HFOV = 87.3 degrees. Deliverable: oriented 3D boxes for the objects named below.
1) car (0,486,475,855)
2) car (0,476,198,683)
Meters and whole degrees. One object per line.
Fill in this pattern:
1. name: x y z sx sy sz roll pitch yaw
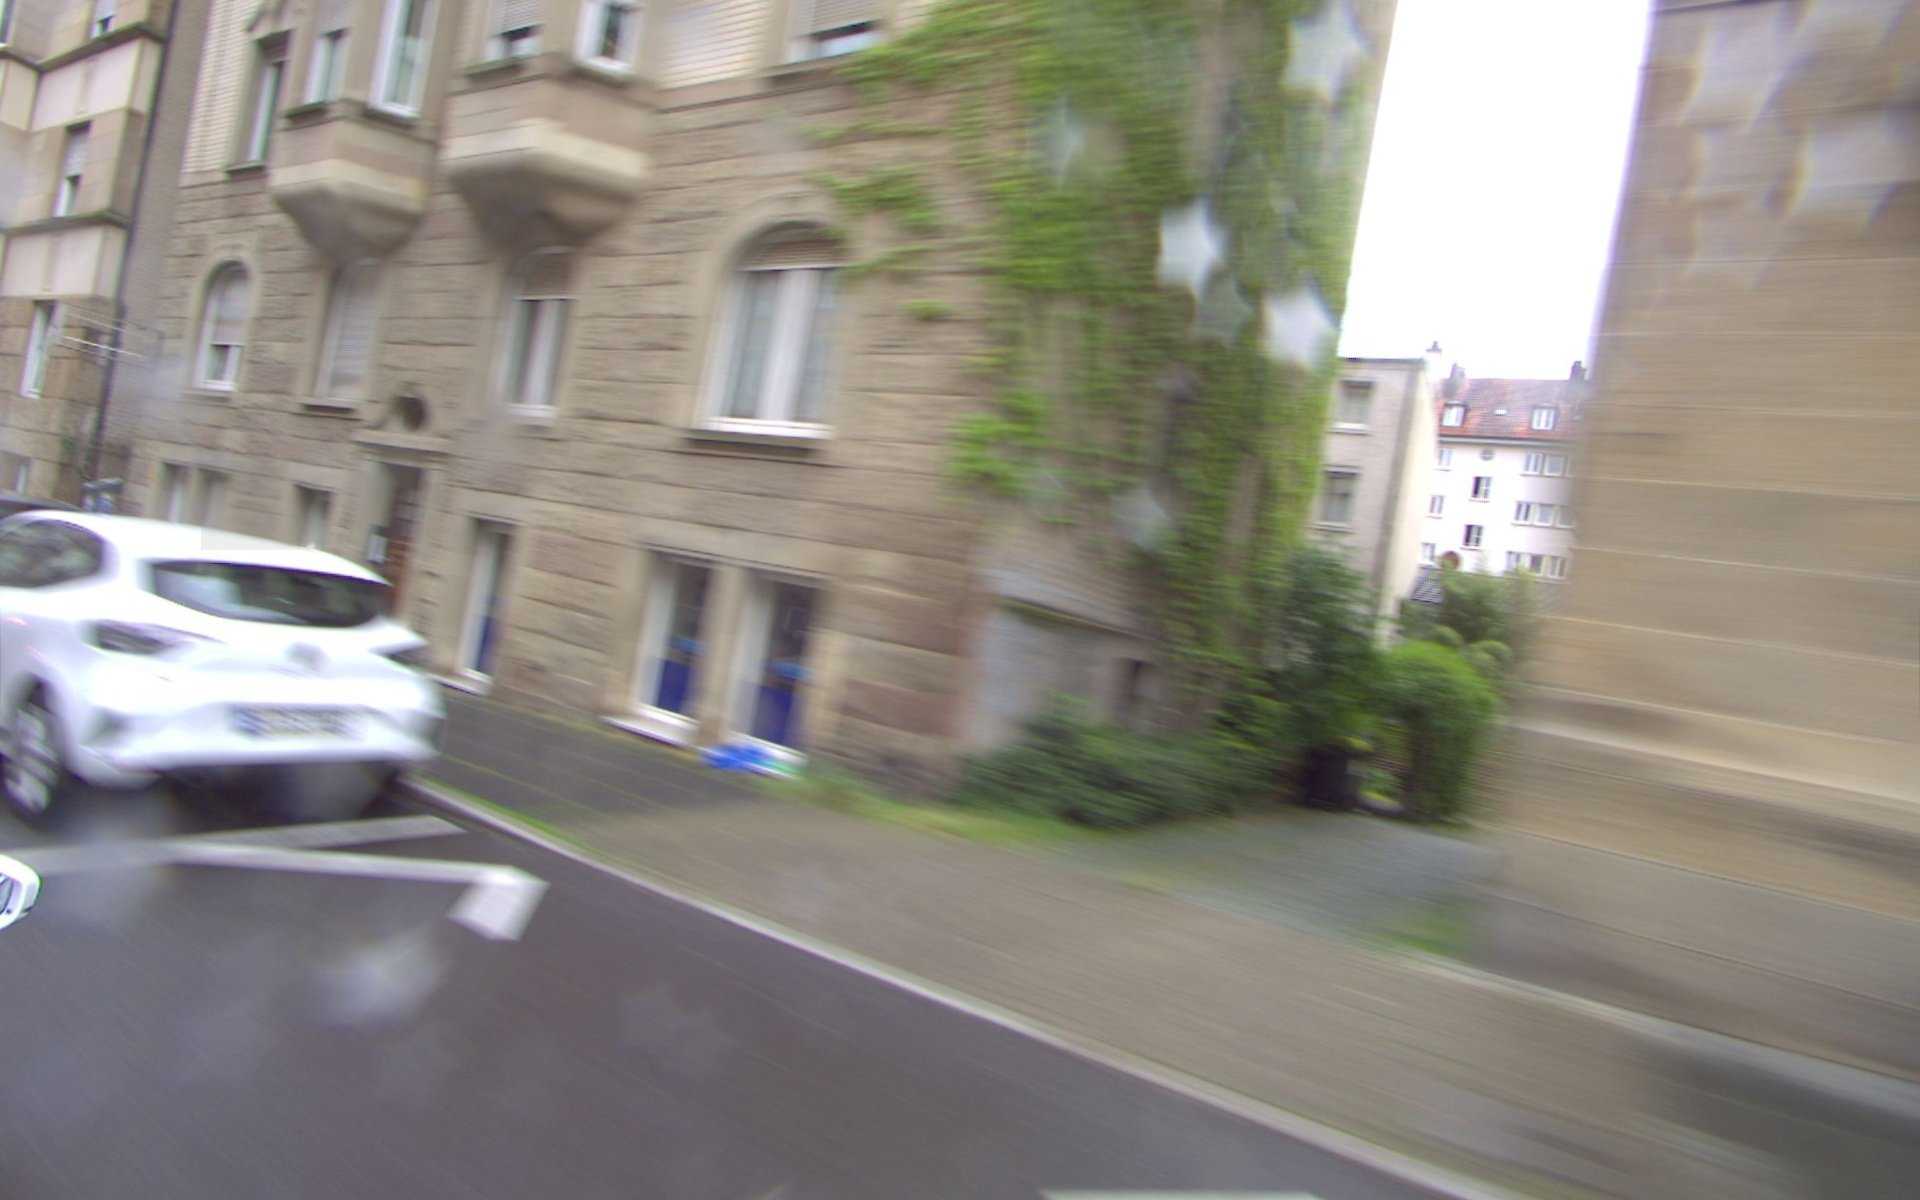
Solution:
1. car: -4.929 0.205 6.021 3.933 1.427 1.679 9 -1 32
2. car: -8.514 -0.360 8.404 3.933 1.458 1.998 7 -2 31
